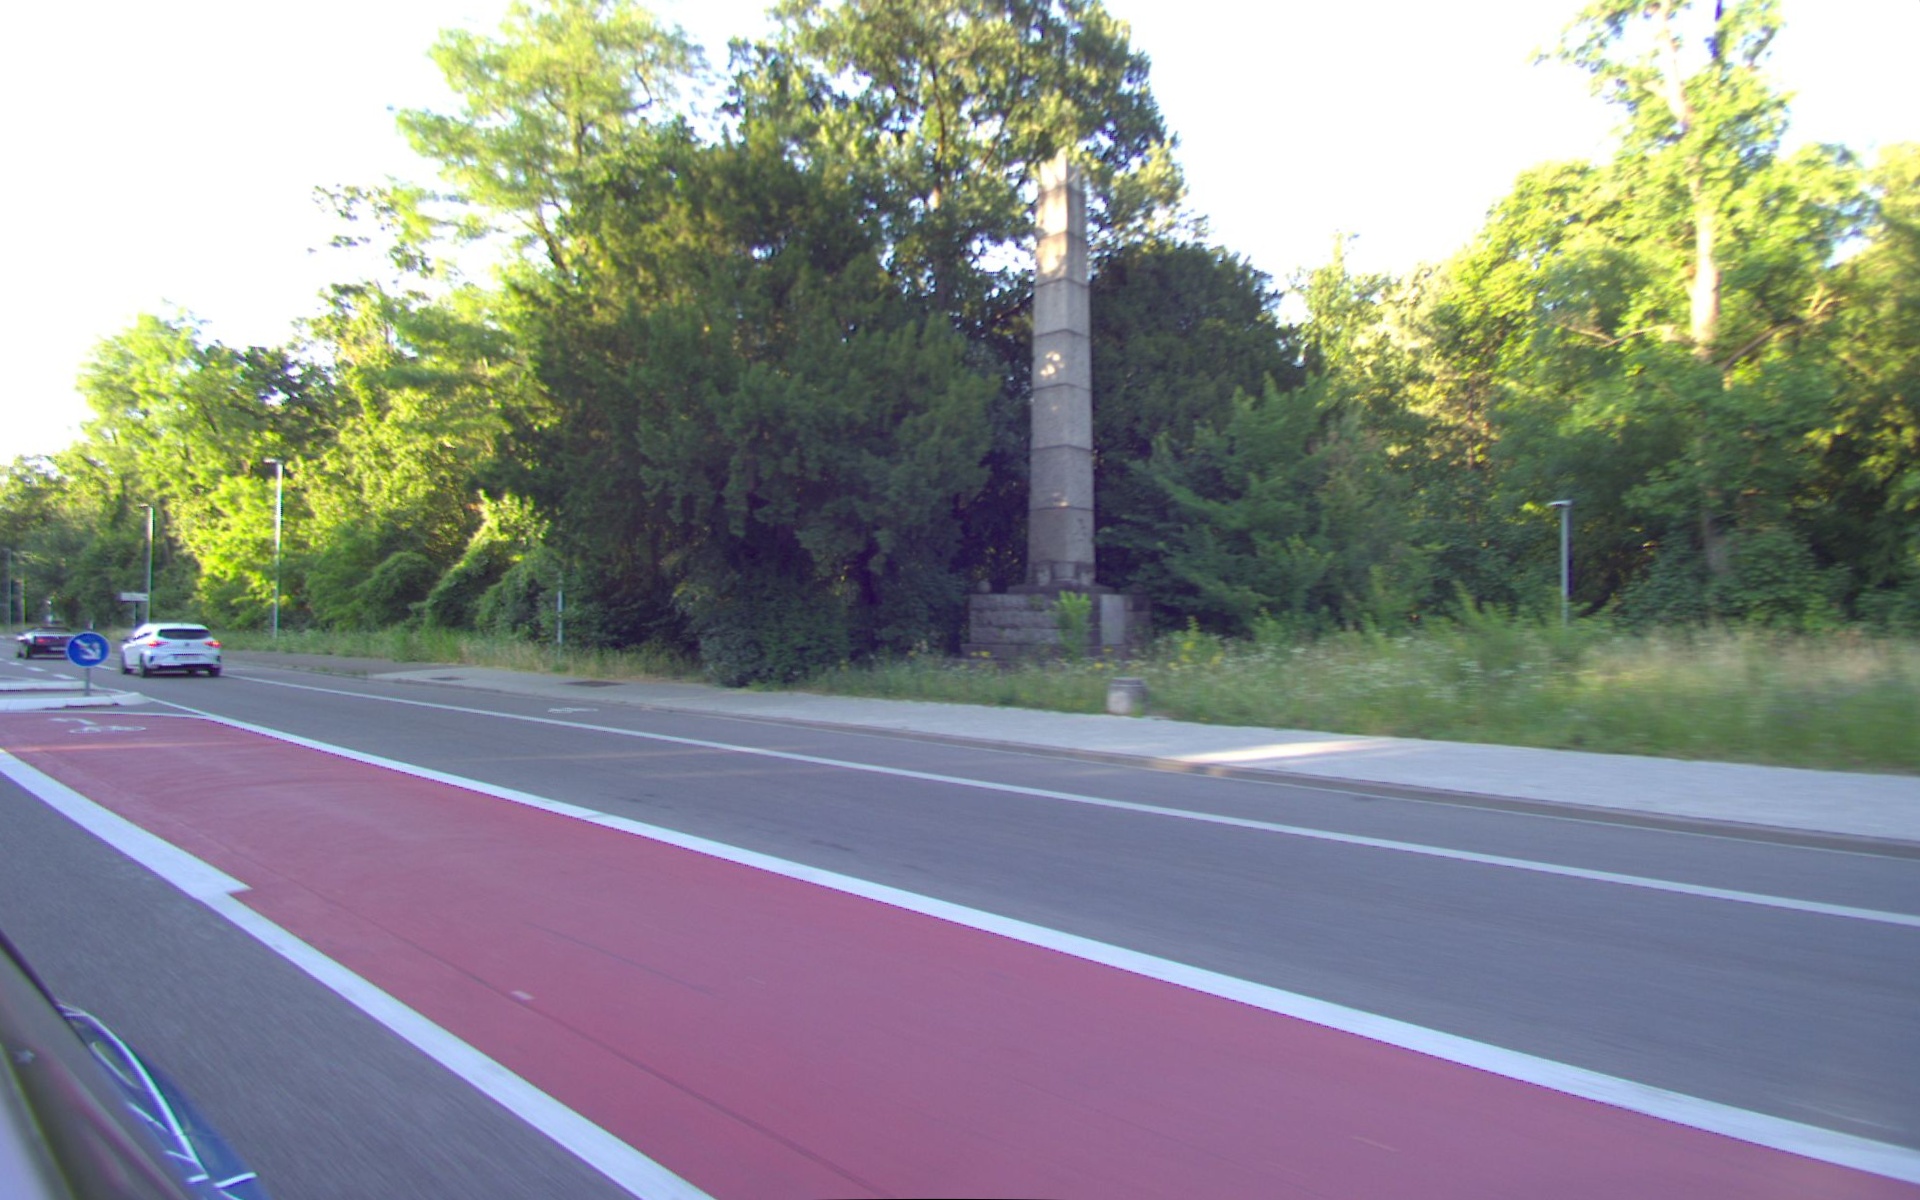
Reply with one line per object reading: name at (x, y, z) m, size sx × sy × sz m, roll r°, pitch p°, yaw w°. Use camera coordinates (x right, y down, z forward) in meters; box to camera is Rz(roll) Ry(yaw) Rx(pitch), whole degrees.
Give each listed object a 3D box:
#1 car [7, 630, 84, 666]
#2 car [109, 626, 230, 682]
car at (-35.802, 1.839, 39.593) m, size 3.997 × 1.316 × 1.731 m, roll -1°, pitch -2°, yaw 41°
car at (-21.856, 1.458, 27.926) m, size 4.178 × 1.425 × 1.827 m, roll -1°, pitch -3°, yaw 41°
